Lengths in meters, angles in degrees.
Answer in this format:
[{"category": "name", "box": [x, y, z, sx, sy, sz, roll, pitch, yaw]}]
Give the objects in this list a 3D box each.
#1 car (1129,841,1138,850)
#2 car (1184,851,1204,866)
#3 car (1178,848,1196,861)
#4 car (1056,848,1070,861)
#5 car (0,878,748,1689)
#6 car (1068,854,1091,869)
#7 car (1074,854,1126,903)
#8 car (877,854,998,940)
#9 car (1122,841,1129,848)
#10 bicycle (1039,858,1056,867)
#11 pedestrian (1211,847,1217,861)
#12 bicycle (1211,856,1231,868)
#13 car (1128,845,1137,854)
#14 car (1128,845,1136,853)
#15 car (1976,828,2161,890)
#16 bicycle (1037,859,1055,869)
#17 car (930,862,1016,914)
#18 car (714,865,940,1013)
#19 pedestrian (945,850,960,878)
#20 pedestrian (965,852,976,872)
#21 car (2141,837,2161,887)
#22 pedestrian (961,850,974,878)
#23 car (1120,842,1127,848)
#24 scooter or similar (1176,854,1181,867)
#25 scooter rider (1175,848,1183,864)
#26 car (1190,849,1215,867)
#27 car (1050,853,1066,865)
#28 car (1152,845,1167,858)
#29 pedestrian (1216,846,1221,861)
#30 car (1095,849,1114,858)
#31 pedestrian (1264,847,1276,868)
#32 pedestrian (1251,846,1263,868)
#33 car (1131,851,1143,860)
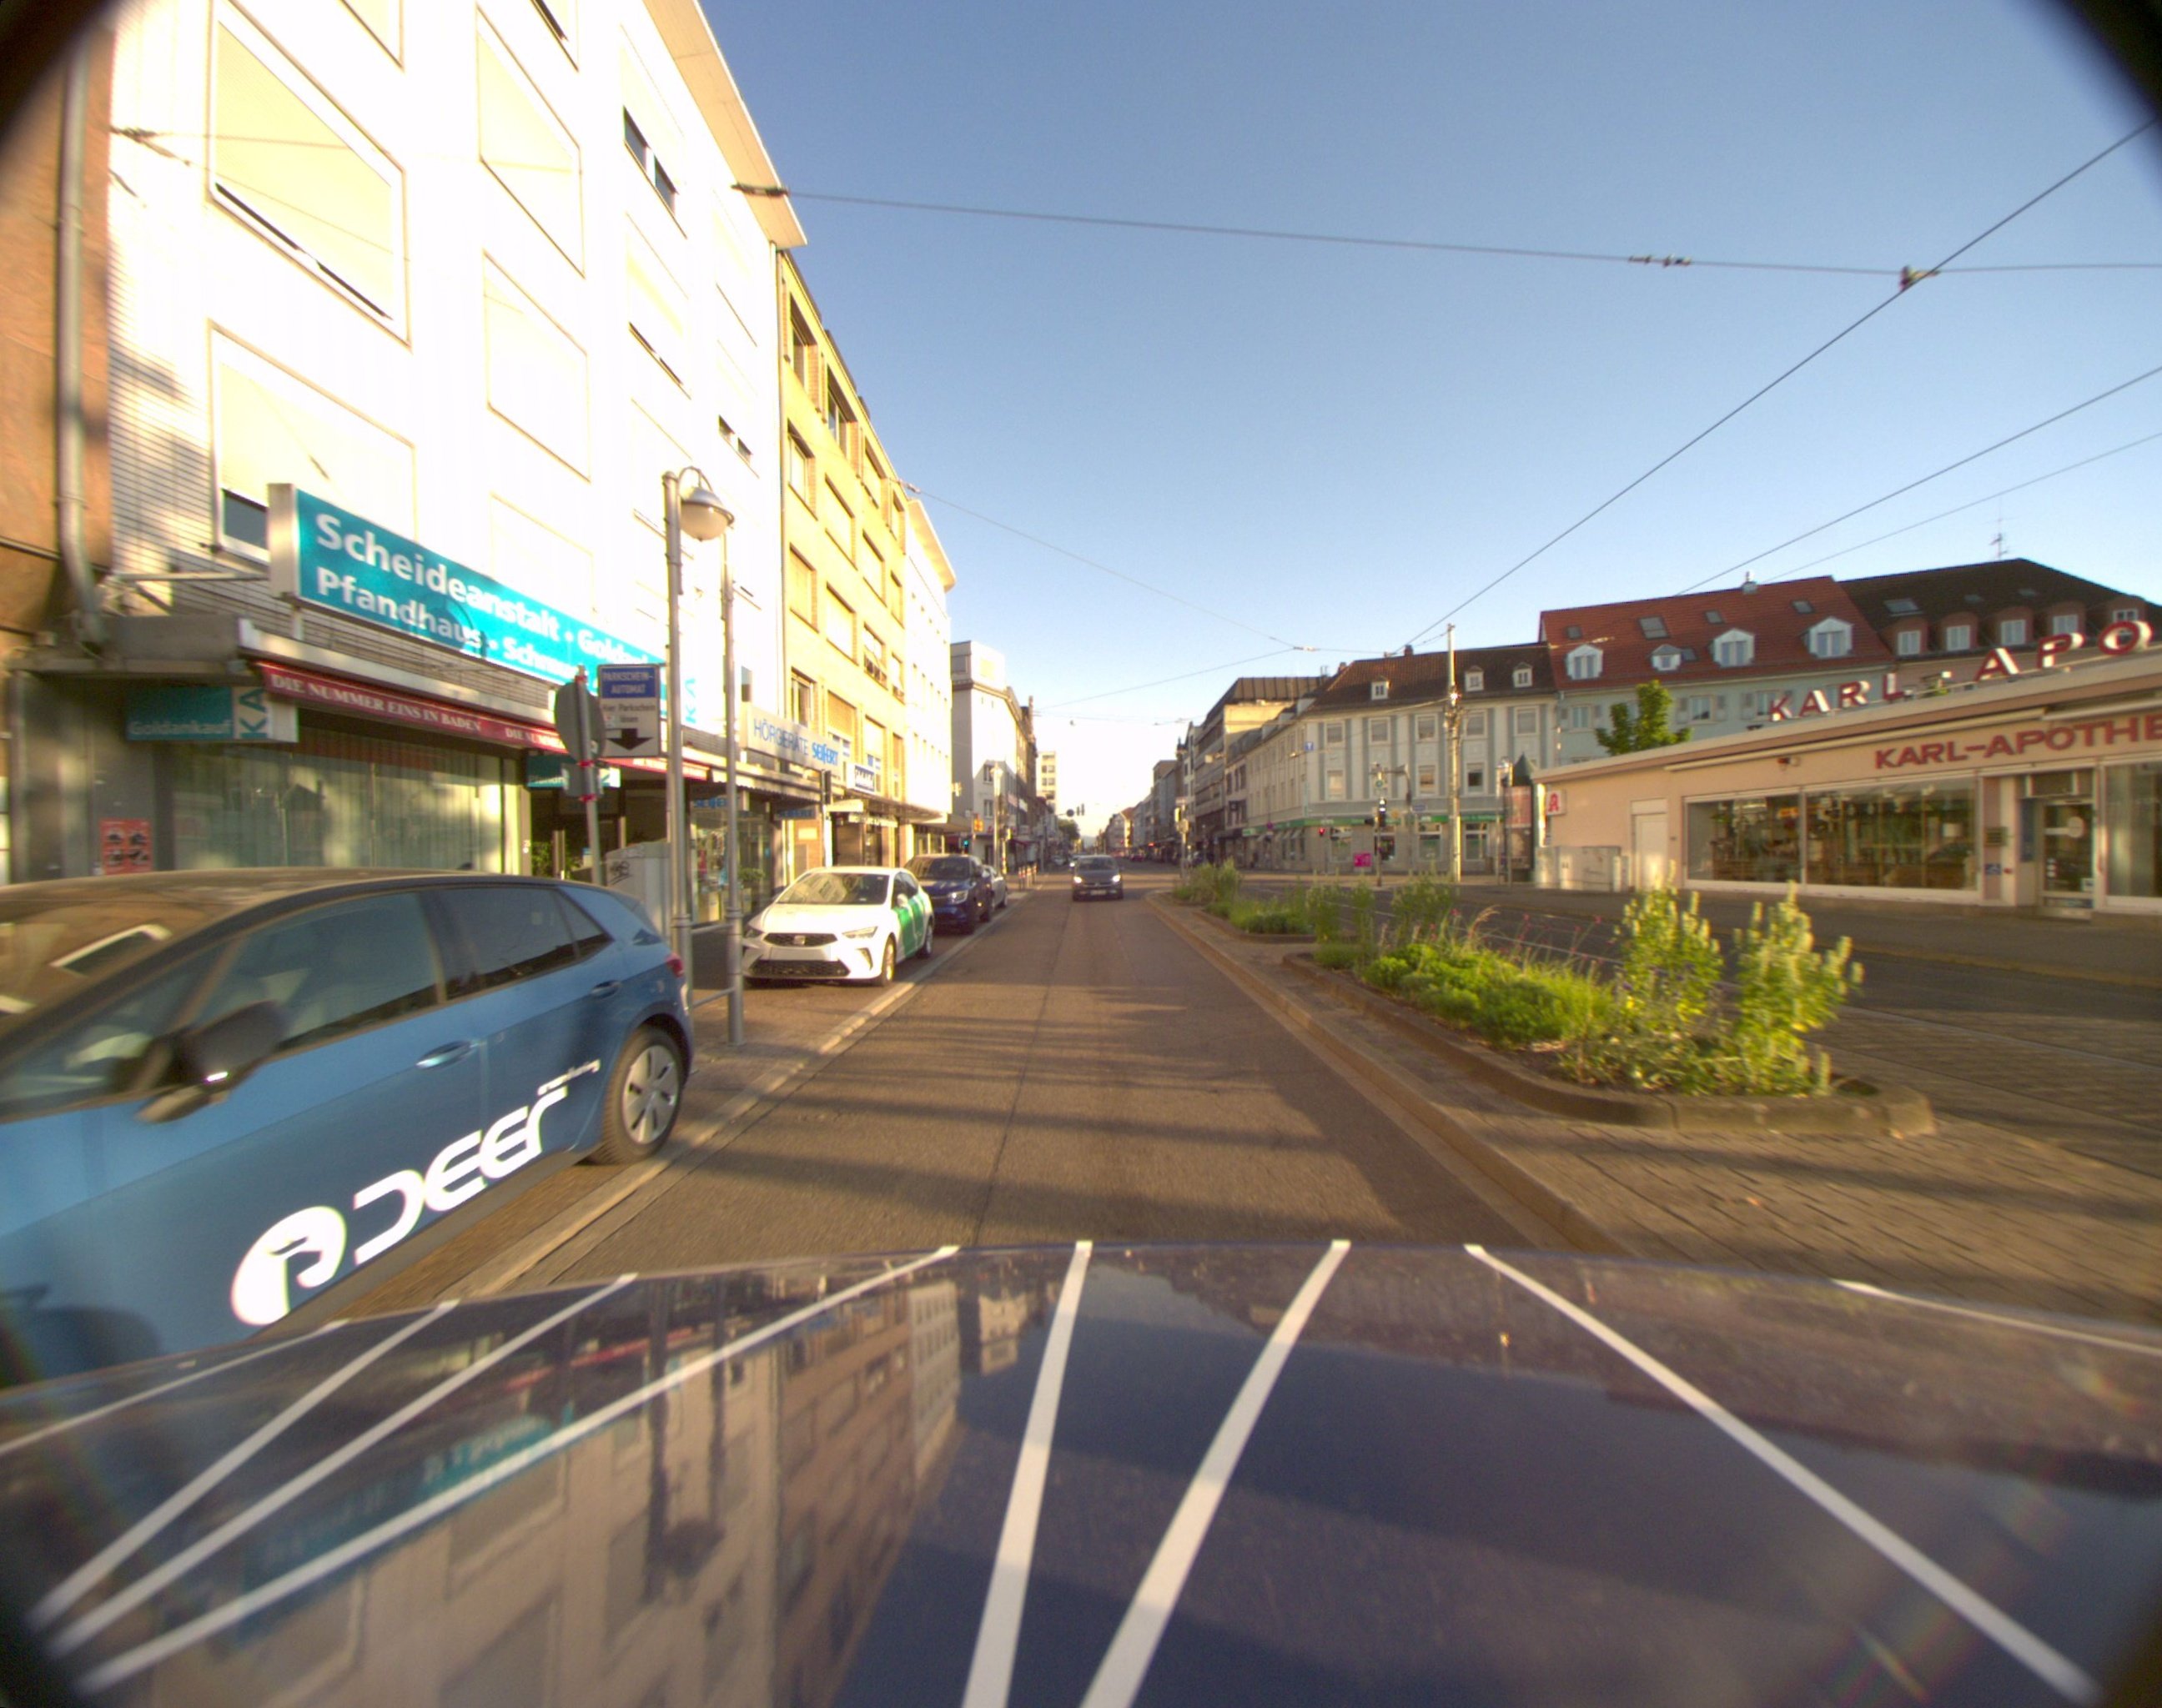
[{"category": "car", "box": [14.090, -2.233, 204.106, 1.975, 2.181, 4.132, -1, 2, 0]}, {"category": "car", "box": [13.074, 0.529, 88.084, 1.701, 1.614, 4.000, -1, 0, 0]}, {"category": "car", "box": [13.939, 0.000, 99.961, 1.819, 1.548, 3.998, -1, 2, 1]}, {"category": "car", "box": [-2.836, 0.051, 121.357, 2.041, 2.105, 4.386, -1, 0, 0]}, {"category": "car", "box": [-3.151, 0.957, 2.672, 1.814, 1.543, 4.835, -1, 0, 0]}, {"category": "car", "box": [-0.129, 0.715, 74.814, 1.914, 1.350, 3.747, -2, 0, 4]}, {"category": "car", "box": [0.598, 0.769, 25.439, 1.587, 1.445, 3.842, -1, 1, 0]}, {"category": "car", "box": [-2.952, 0.810, 16.515, 1.769, 1.596, 4.287, -1, 0, 0]}, {"category": "car", "box": [14.279, -3.032, 245.037, 1.999, 2.002, 3.998, -1, 2, -2]}, {"category": "bicycle", "box": [-3.558, 0.929, 79.886, 1.762, 0.944, 0.443, 0, 2, -6]}, {"category": "pedestrian", "box": [15.455, 0.008, 88.409, 0.509, 1.675, 0.583, -1, 2, -1]}, {"category": "bicycle", "box": [12.848, 0.748, 69.679, 1.740, 1.052, 0.499, -1, -1, 9]}, {"category": "car", "box": [13.334, -1.188, 197.778, 1.974, 2.002, 3.998, -1, 2, -2]}, {"category": "car", "box": [14.137, -1.400, 211.269, 1.960, 2.002, 3.998, -1, 2, -2]}, {"category": "car", "box": [35.045, 0.107, 26.881, 1.998, 2.002, 3.998, -1, 2, 1]}, {"category": "bicycle", "box": [-3.612, 1.047, 78.466, 1.829, 1.025, 0.443, 1, 0, -6]}, {"category": "car", "box": [-3.034, 0.927, 22.150, 1.677, 1.275, 4.064, -1, 1, 3]}, {"category": "car", "box": [-3.182, 0.969, 10.446, 1.735, 1.427, 4.150, -1, 2, -1]}, {"category": "pedestrian", "box": [-8.191, 0.631, 48.387, 0.749, 1.763, 0.639, -1, 1, 4]}, {"category": "pedestrian", "box": [-9.023, 0.667, 62.185, 0.799, 1.646, 0.586, -1, 1, -3]}, {"category": "car", "box": [35.030, 0.308, 22.037, 1.804, 1.556, 4.676, -1, 2, -6]}, {"category": "pedestrian", "box": [-7.173, 0.606, 48.173, 0.749, 1.763, 0.586, -1, 1, -7]}, {"category": "car", "box": [14.008, -3.002, 250.995, 1.999, 2.002, 3.998, -1, 2, -2]}, {"category": "scooter or similar", "box": [10.545, 0.677, 82.002, 0.545, 1.343, 1.670, -1, 1, 8]}, {"category": "scooter rider", "box": [10.590, 0.228, 82.120, 0.813, 1.796, 0.788, -1, 0, 7]}, {"category": "car", "box": [13.071, 0.420, 82.063, 1.915, 1.785, 4.128, -2, 1, 0]}, {"category": "car", "box": [-3.162, 0.723, 104.526, 2.041, 1.550, 4.386, -1, 0, 0]}, {"category": "car", "box": [12.698, -0.394, 122.532, 1.998, 2.002, 3.999, -1, 2, 1]}, {"category": "pedestrian", "box": [16.034, -0.025, 88.489, 0.515, 1.725, 0.600, -1, 3, 0]}, {"category": "car", "box": [4.933, -0.056, 159.953, 3.837, 1.739, 1.805, -1, 2, -9]}, {"category": "pedestrian", "box": [15.107, 0.271, 60.744, 0.826, 1.631, 0.814, -2, 0, 17]}, {"category": "pedestrian", "box": [14.272, 0.263, 61.595, 0.826, 1.718, 0.814, -2, 1, 15]}, {"category": "car", "box": [9.995, 0.243, 136.572, 1.895, 1.471, 4.544, 1, -1, 1]}]
